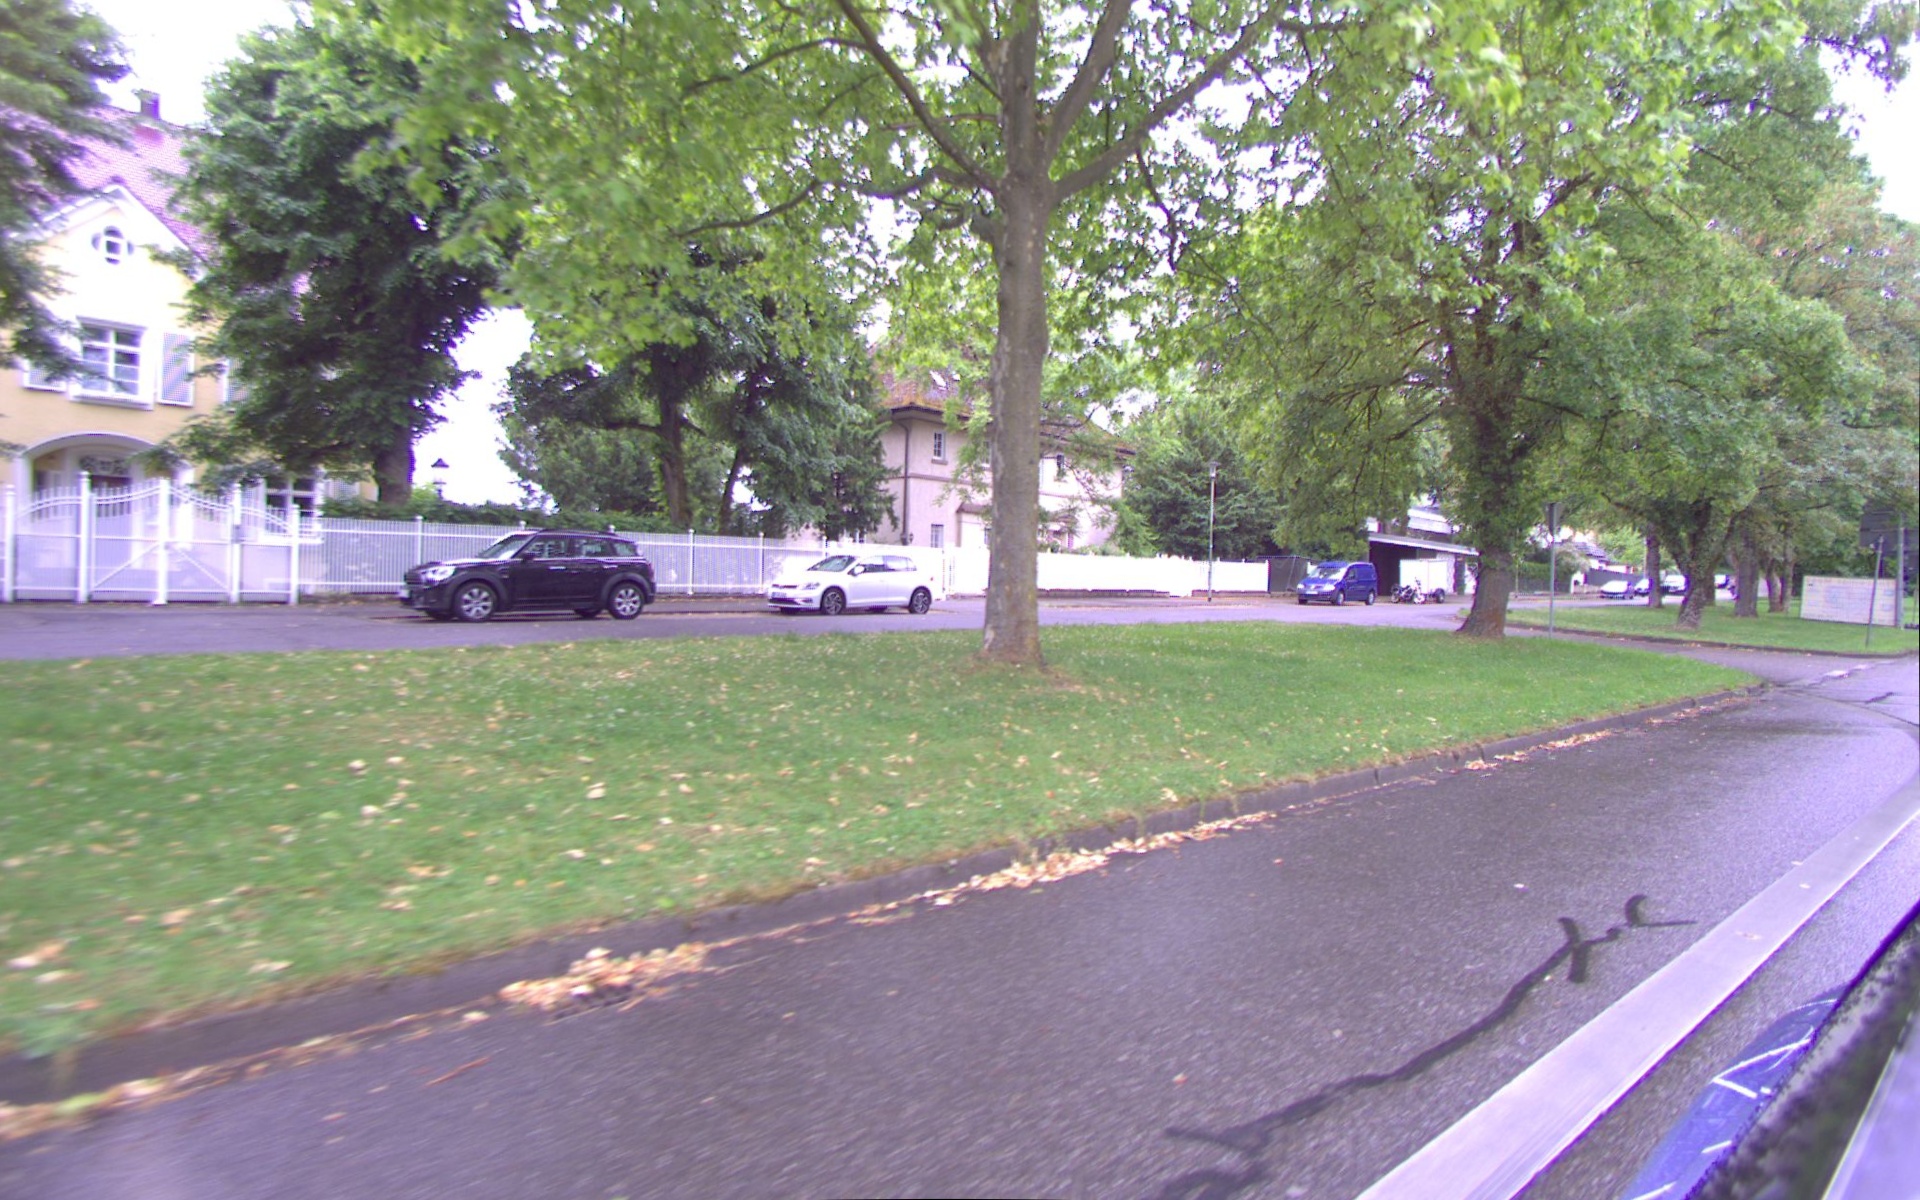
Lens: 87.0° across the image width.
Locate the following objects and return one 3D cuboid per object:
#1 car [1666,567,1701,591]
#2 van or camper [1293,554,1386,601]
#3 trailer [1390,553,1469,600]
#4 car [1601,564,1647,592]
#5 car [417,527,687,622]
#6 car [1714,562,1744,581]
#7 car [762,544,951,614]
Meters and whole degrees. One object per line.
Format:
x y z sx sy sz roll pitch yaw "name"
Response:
67.870 -1.999 94.900 3.933 2.039 1.996 2 1 -44 "car"
15.734 -0.928 41.817 1.993 1.831 4.702 0 1 43 "van or camper"
22.510 -1.099 48.373 5.109 2.143 1.767 -1 1 -45 "trailer"
51.228 -1.715 78.076 3.932 2.038 1.997 -1 3 -43 "car"
-7.223 -0.436 18.149 1.994 1.489 4.059 0 1 44 "car"
84.832 -3.122 111.669 3.934 2.038 1.996 -1 3 -44 "car"
-2.333 -0.469 23.488 1.994 1.467 4.059 0 1 44 "car"
